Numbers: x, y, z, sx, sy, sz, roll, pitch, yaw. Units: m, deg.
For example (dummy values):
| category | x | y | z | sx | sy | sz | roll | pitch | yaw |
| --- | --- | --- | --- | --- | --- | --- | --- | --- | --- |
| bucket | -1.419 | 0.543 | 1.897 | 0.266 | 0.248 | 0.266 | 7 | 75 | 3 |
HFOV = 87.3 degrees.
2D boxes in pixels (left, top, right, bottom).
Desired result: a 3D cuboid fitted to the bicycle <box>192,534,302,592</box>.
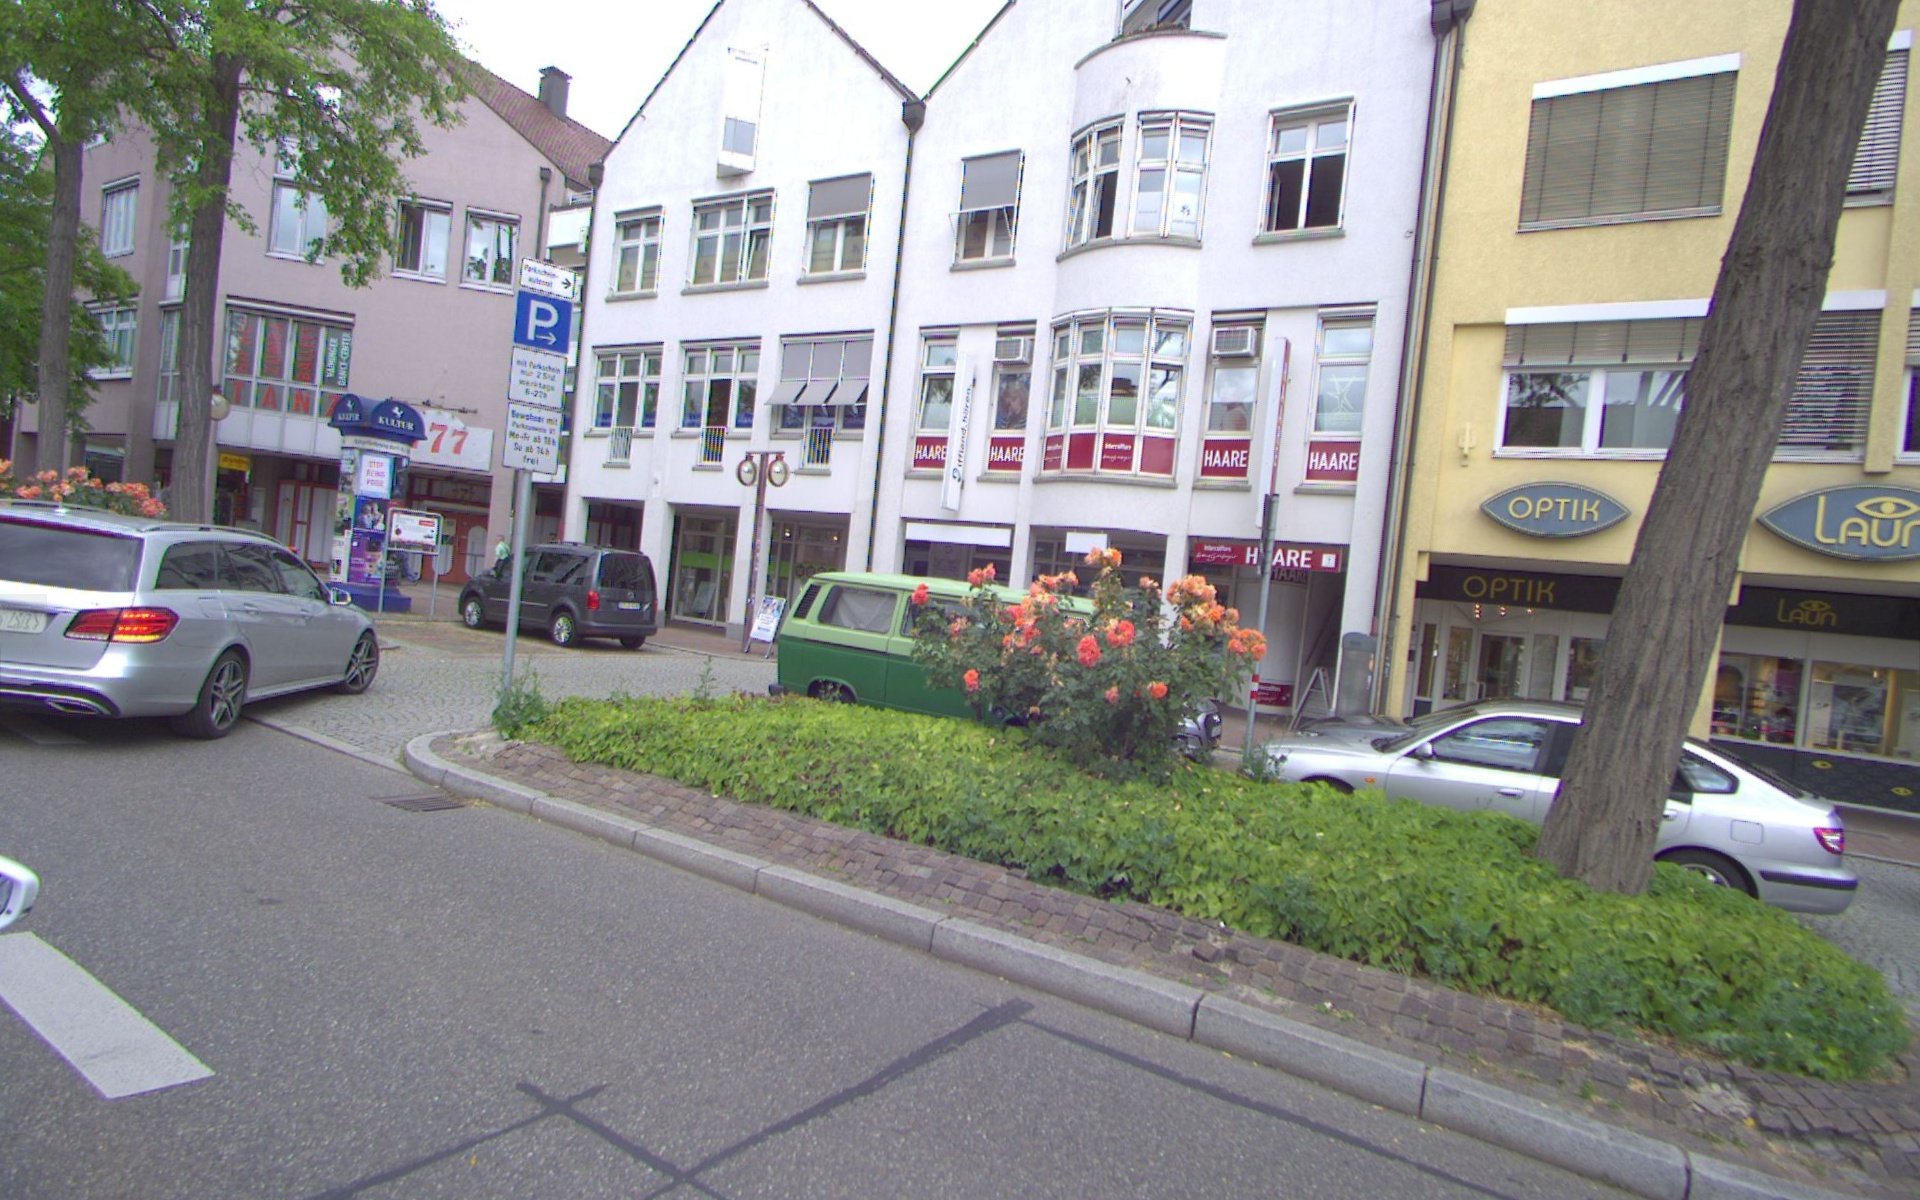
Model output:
| category | x | y | z | sx | sy | sz | roll | pitch | yaw |
| --- | --- | --- | --- | --- | --- | --- | --- | --- | --- |
| bicycle | -14.923 | -0.757 | 21.095 | 0.440 | 1.009 | 1.769 | 7 | 0 | 36 |

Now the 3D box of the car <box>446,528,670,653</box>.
| category | x | y | z | sx | sy | sz | roll | pitch | yaw |
| --- | --- | --- | --- | --- | --- | --- | --- | --- | --- |
| car | -7.620 | -0.183 | 19.016 | 3.898 | 1.855 | 1.640 | 7 | 1 | 27 |

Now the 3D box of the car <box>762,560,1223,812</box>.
| category | x | y | z | sx | sy | sz | roll | pitch | yaw |
| --- | --- | --- | --- | --- | --- | --- | --- | --- | --- |
| car | 0.280 | 0.776 | 10.976 | 4.527 | 1.900 | 1.882 | 7 | 2 | 30 |

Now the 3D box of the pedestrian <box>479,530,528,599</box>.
| category | x | y | z | sx | sy | sz | roll | pitch | yaw |
| --- | --- | --- | --- | --- | --- | --- | --- | --- | --- |
| pedestrian | -12.930 | -0.993 | 28.496 | 0.805 | 1.815 | 0.790 | 7 | 1 | 31 |

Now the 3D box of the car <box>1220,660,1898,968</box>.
| category | x | y | z | sx | sy | sz | roll | pitch | yaw |
| --- | --- | --- | --- | --- | --- | --- | --- | --- | --- |
| car | 4.661 | 1.539 | 8.503 | 4.344 | 1.468 | 1.765 | 7 | 0 | 30 |

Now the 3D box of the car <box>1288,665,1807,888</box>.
| category | x | y | z | sx | sy | sz | roll | pitch | yaw |
| --- | --- | --- | --- | --- | --- | --- | --- | --- | --- |
| car | 6.069 | 1.700 | 10.920 | 4.344 | 1.394 | 1.999 | 7 | 1 | 30 |

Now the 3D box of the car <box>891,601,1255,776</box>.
| category | x | y | z | sx | sy | sz | roll | pitch | yaw |
| --- | --- | --- | --- | --- | --- | --- | --- | --- | --- |
| car | 1.445 | 1.060 | 13.371 | 4.319 | 1.562 | 1.798 | 7 | 1 | 30 |

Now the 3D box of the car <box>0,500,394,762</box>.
| category | x | y | z | sx | sy | sz | roll | pitch | yaw |
| --- | --- | --- | --- | --- | --- | --- | --- | --- | --- |
| car | -6.294 | 0.146 | 8.015 | 1.792 | 1.465 | 4.360 | 8 | -2 | -13 |

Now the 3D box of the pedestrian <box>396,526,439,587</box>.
| category | x | y | z | sx | sy | sz | roll | pitch | yaw |
| --- | --- | --- | --- | --- | --- | --- | --- | --- | --- |
| pedestrian | -15.157 | -1.211 | 28.124 | 0.610 | 1.583 | 0.665 | 7 | 0 | 10 |

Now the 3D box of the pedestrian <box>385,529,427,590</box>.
| category | x | y | z | sx | sy | sz | roll | pitch | yaw |
| --- | --- | --- | --- | --- | --- | --- | --- | --- | --- |
| pedestrian | -15.027 | -1.092 | 27.306 | 0.610 | 1.534 | 0.612 | 7 | 0 | 10 |

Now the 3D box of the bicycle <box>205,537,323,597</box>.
| category | x | y | z | sx | sy | sz | roll | pitch | yaw |
| --- | --- | --- | --- | --- | --- | --- | --- | --- | --- |
| bicycle | -14.416 | -0.659 | 20.892 | 0.460 | 1.009 | 1.901 | 7 | 0 | 36 |
